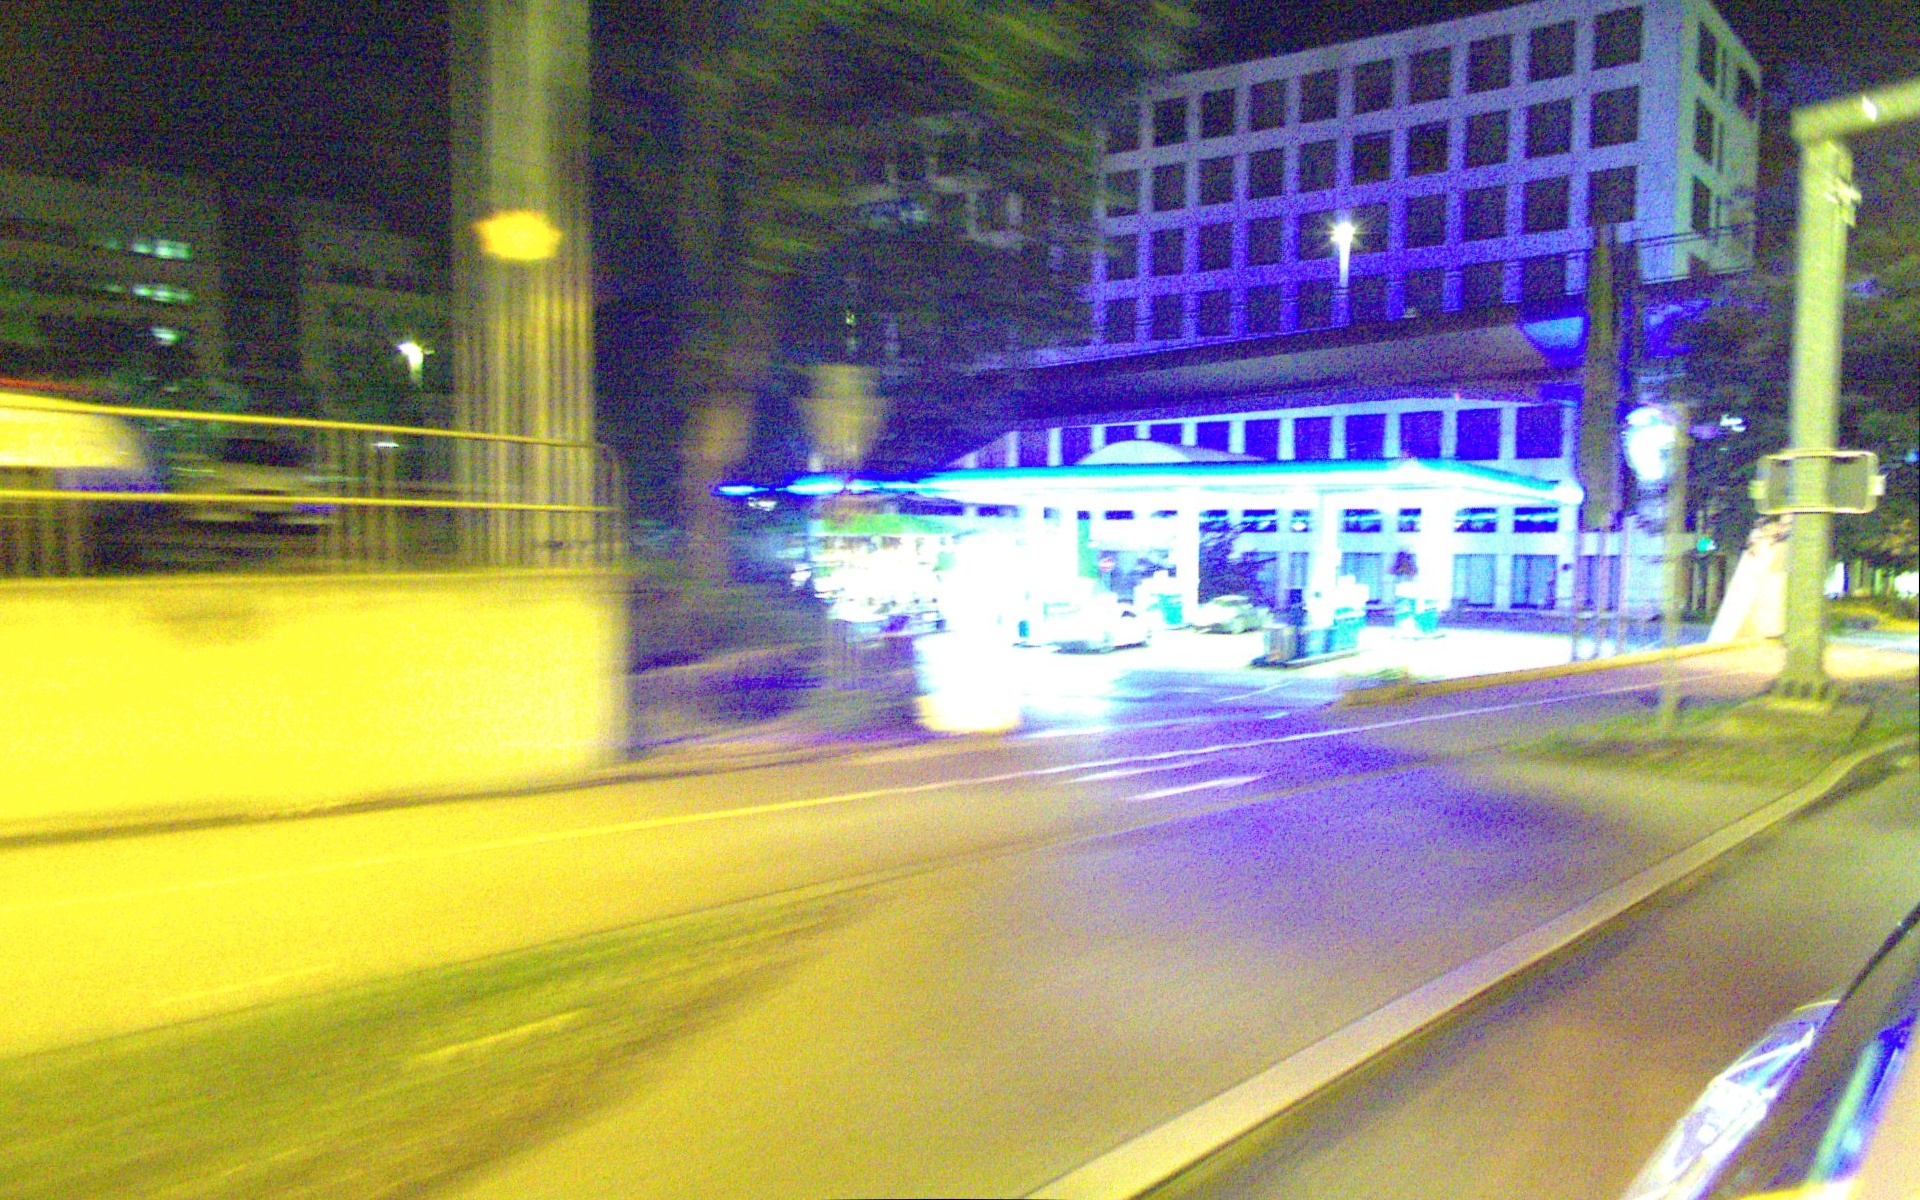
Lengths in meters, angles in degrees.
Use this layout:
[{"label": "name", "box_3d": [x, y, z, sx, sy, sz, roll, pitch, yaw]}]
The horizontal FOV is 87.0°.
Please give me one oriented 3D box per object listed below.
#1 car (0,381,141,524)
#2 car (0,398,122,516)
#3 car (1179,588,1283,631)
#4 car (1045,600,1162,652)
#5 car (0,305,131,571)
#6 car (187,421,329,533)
[{"label": "car", "box_3d": [-12.976, -2.096, 14.539, 1.804, 1.751, 4.001, -1, 7, -38]}, {"label": "car", "box_3d": [-16.949, -2.573, 18.854, 1.724, 1.918, 3.813, -1, 5, -45]}, {"label": "car", "box_3d": [10.104, 0.296, 37.527, 1.927, 1.380, 4.267, 3, 3, 43]}, {"label": "car", "box_3d": [4.464, 0.746, 31.165, 1.652, 1.375, 4.008, 2, 2, 42]}, {"label": "car", "box_3d": [-7.148, -1.075, 7.241, 1.791, 1.540, 4.129, -2, 5, -40]}, {"label": "car", "box_3d": [-10.987, -1.912, 15.746, 1.607, 1.487, 3.654, -1, 7, -38]}]
